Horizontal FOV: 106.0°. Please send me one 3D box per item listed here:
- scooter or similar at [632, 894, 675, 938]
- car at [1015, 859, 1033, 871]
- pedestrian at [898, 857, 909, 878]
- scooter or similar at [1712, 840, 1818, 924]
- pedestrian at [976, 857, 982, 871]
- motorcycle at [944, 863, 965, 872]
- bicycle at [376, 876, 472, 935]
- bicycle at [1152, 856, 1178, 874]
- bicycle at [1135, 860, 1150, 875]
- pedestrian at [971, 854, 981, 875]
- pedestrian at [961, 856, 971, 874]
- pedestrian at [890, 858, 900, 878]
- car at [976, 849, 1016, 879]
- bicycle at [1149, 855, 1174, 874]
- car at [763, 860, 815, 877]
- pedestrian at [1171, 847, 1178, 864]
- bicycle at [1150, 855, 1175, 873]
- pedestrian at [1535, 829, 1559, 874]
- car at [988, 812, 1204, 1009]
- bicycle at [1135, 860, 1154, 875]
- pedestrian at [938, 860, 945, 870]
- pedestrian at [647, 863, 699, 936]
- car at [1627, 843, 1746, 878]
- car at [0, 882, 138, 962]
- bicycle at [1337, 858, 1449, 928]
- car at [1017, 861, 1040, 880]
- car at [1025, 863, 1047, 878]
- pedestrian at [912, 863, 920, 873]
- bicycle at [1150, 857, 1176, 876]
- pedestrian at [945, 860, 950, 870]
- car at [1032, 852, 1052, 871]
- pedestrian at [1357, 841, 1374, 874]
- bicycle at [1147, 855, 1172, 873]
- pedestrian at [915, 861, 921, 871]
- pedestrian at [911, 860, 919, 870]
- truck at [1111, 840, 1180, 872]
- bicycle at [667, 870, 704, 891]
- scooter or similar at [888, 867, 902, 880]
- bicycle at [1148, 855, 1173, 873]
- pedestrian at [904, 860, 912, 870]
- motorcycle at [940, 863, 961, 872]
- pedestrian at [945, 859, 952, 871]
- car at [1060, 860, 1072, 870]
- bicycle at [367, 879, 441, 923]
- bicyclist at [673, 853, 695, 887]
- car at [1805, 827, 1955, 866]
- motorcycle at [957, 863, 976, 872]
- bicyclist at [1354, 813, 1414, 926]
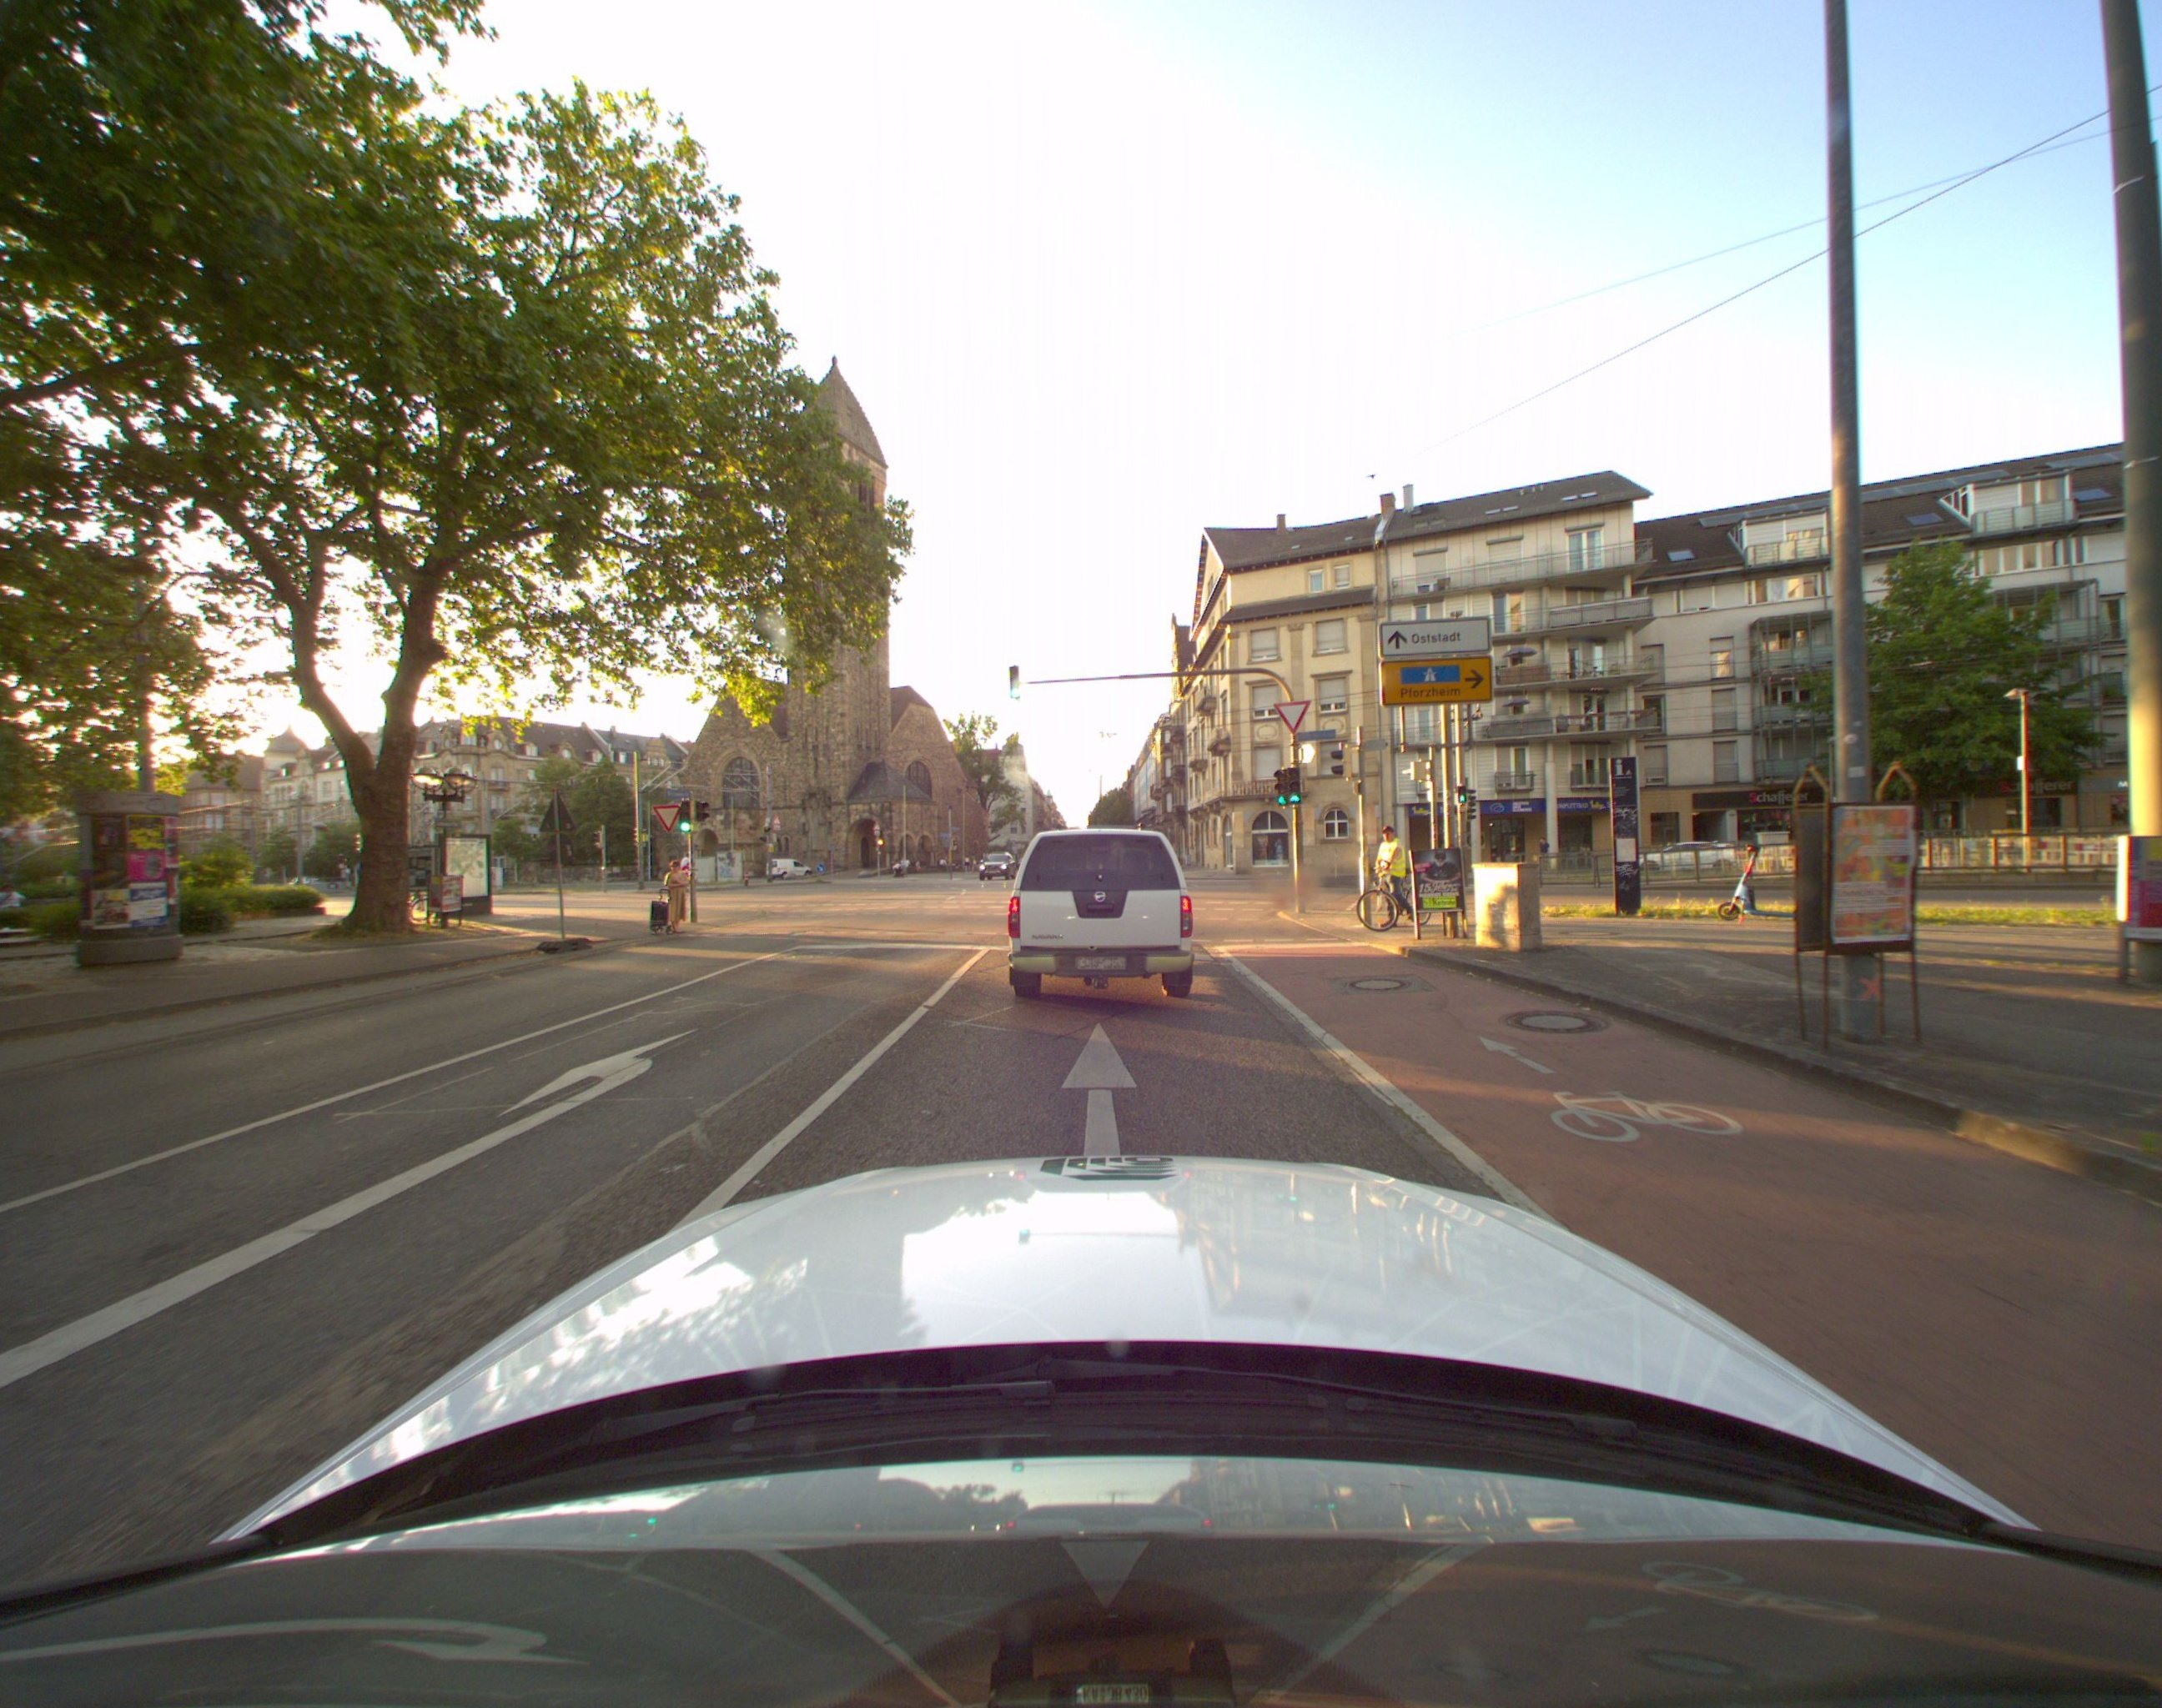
[{"bbox_3d":[-9.354,1.350,17.837,0.591,0.898,0.849,0,-1,-9],"label":"scooter or similar"},{"bbox_3d":[-7.120,1.395,102.140,1.852,1.398,4.000,-1,-1,1],"label":"car"},{"bbox_3d":[-14.897,1.135,68.317,0.629,1.698,0.605,-1,-1,12],"label":"pedestrian"},{"bbox_3d":[10.628,0.429,12.679,1.219,1.249,0.518,-1,-1,41],"label":"scooter or similar"},{"bbox_3d":[-12.376,1.186,98.514,0.640,1.695,0.562,-1,-1,1],"label":"pedestrian"},{"bbox_3d":[-14.367,1.517,92.453,2.239,0.988,0.707,-1,-1,-4],"label":"motorcycle"},{"bbox_3d":[-15.852,1.215,19.709,0.522,1.326,1.998,-1,-1,7],"label":"bicycle"},{"bbox_3d":[6.238,0.822,60.422,1.812,1.150,0.636,-5,-1,-1],"label":"bicycle"},{"bbox_3d":[4.675,1.026,61.807,1.073,1.024,0.317,-5,-1,-1],"label":"bicycle"},{"bbox_3d":[-9.908,0.989,76.614,0.809,1.901,0.666,-1,-1,-1],"label":"pedestrian"},{"bbox_3d":[-10.789,0.994,76.574,0.809,1.669,0.859,-1,-1,0],"label":"pedestrian"},{"bbox_3d":[-15.618,1.181,68.512,0.629,1.698,0.605,-1,-1,11],"label":"pedestrian"},{"bbox_3d":[-5.506,0.608,53.349,1.987,1.784,4.798,-2,0,1],"label":"car"},{"bbox_3d":[6.129,0.805,62.077,1.812,1.238,0.477,-5,-1,-1],"label":"bicycle"},{"bbox_3d":[-26.302,1.278,73.578,1.698,1.517,4.481,-1,-1,26],"label":"car"},{"bbox_3d":[8.997,0.153,78.325,0.525,1.654,0.547,-1,-1,1],"label":"pedestrian"},{"bbox_3d":[6.253,0.778,62.801,1.812,1.238,0.412,-5,-1,-1],"label":"bicycle"},{"bbox_3d":[23.221,-0.107,40.585,0.860,2.209,0.825,-1,-1,21],"label":"pedestrian"},{"bbox_3d":[0.200,0.543,9.523,1.986,1.809,4.001,0,-1,2],"label":"car"},{"bbox_3d":[4.890,1.017,62.514,1.367,1.024,0.317,-5,-1,-1],"label":"bicycle"},{"bbox_3d":[-13.554,1.042,79.110,0.517,0.960,0.482,-1,-1,19],"label":"pedestrian"},{"bbox_3d":[-9.349,1.021,18.684,0.800,1.628,0.773,0,-1,-3],"label":"pedestrian"},{"bbox_3d":[26.727,0.304,36.135,3.950,1.486,1.860,-1,-1,26],"label":"car"},{"bbox_3d":[-26.760,1.743,19.753,1.975,1.781,4.669,-3,1,27],"label":"car"},{"bbox_3d":[5.293,0.631,13.770,2.079,1.109,0.622,0,-1,-31],"label":"bicycle"},{"bbox_3d":[-4.736,1.443,73.519,1.990,1.557,4.761,-1,1,-5],"label":"car"},{"bbox_3d":[-4.793,1.736,86.601,1.987,1.477,4.140,-2,0,1],"label":"car"},{"bbox_3d":[-15.091,1.278,74.603,0.473,0.960,0.526,-1,-1,31],"label":"pedestrian"},{"bbox_3d":[6.157,0.947,61.363,1.812,1.238,0.488,-5,-1,-1],"label":"bicycle"},{"bbox_3d":[-12.937,1.045,78.922,0.522,0.960,0.477,0,-1,-14],"label":"pedestrian"},{"bbox_3d":[-4.493,0.828,94.017,1.987,2.013,4.951,-2,0,1],"label":"car"},{"bbox_3d":[15.670,0.180,44.834,0.779,1.779,0.546,-1,-1,27],"label":"pedestrian"},{"bbox_3d":[6.176,0.795,63.940,1.849,1.238,0.530,-5,-1,-1],"label":"bicycle"},{"bbox_3d":[-17.017,1.248,84.985,0.553,0.960,0.705,0,-1,-17],"label":"pedestrian"},{"bbox_3d":[-15.008,0.987,73.433,0.517,0.960,0.482,-1,-1,21],"label":"pedestrian"},{"bbox_3d":[5.360,0.174,67.016,5.704,2.565,2.260,0,-1,-42],"label":"truck"},{"bbox_3d":[-21.996,1.472,45.325,0.652,1.078,2.251,0,1,9],"label":"bicycle"},{"bbox_3d":[-15.419,1.608,67.512,0.629,1.103,1.082,-1,-1,13],"label":"scooter or similar"},{"bbox_3d":[6.201,0.786,63.408,1.812,1.238,0.410,-5,-1,-1],"label":"bicycle"},{"bbox_3d":[-15.619,0.997,73.724,0.517,0.960,0.482,-1,-1,21],"label":"pedestrian"},{"bbox_3d":[-14.530,1.494,90.428,2.239,0.988,0.707,-1,-1,-4],"label":"motorcycle"},{"bbox_3d":[-13.140,1.104,80.929,0.474,1.245,0.526,-1,-1,19],"label":"pedestrian"},{"bbox_3d":[-2.379,1.744,129.933,1.854,1.529,3.997,-1,-1,-2],"label":"car"},{"bbox_3d":[-18.077,1.240,21.793,0.456,1.093,1.798,-1,-1,0],"label":"bicycle"},{"bbox_3d":[-22.032,0.868,45.190,0.652,1.827,0.861,-1,0,9],"label":"bicyclist"},{"bbox_3d":[32.668,-0.266,33.449,3.952,1.486,1.859,-1,-1,21],"label":"car"},{"bbox_3d":[-13.271,1.534,94.716,2.146,0.988,0.597,-1,-1,21],"label":"motorcycle"},{"bbox_3d":[5.078,0.253,13.649,0.701,1.824,0.622,0,-1,-31],"label":"bicyclist"}]
